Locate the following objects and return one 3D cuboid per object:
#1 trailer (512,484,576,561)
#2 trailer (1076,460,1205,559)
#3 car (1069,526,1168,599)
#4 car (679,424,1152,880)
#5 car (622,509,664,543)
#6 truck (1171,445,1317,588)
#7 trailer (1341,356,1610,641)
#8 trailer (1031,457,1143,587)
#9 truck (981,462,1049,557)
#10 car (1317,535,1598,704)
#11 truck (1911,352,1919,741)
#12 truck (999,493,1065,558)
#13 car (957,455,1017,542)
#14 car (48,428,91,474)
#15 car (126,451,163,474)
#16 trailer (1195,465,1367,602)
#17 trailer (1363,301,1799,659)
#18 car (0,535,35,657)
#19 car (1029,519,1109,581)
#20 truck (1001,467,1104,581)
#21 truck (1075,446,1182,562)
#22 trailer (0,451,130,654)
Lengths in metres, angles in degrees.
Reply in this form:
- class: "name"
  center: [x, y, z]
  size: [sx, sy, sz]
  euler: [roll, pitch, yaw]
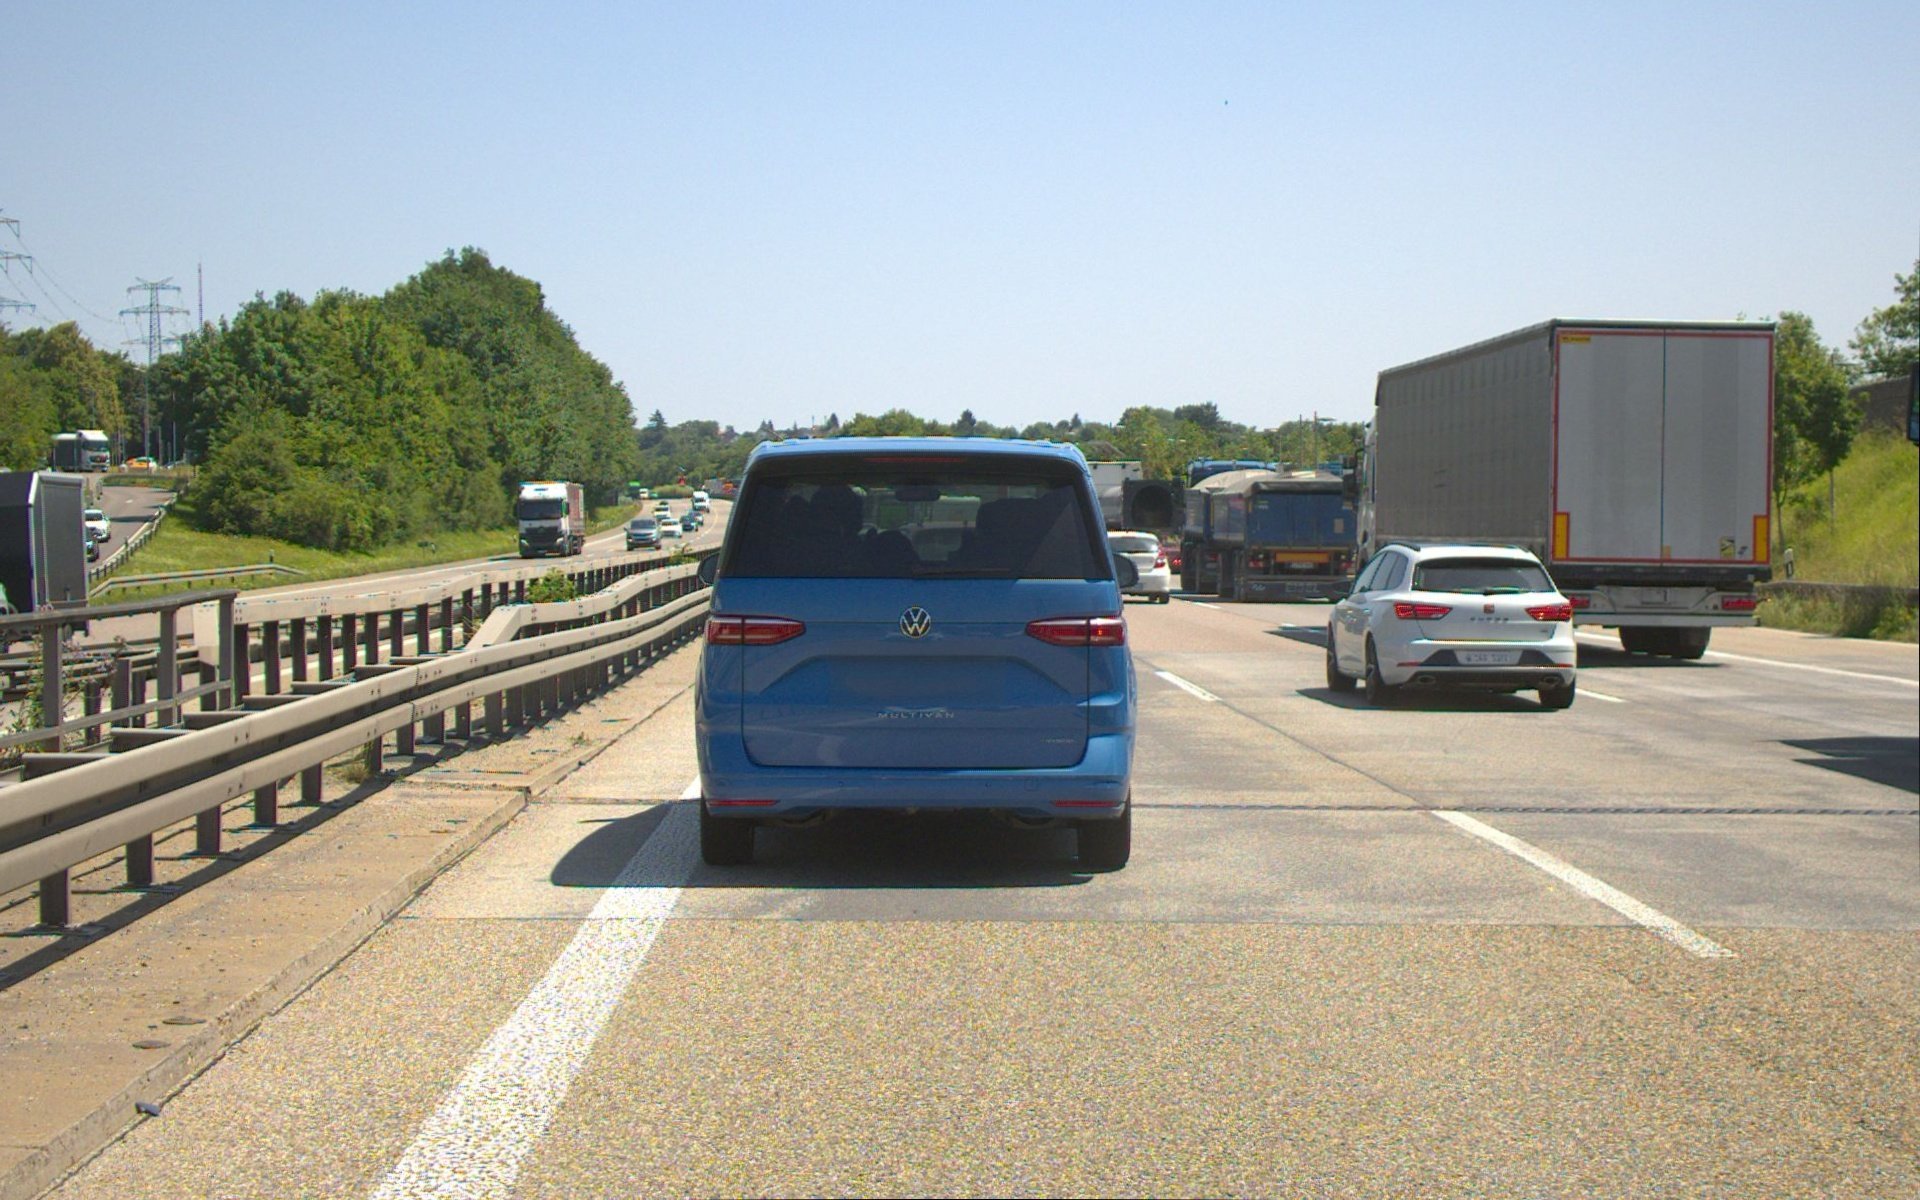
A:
- class: "trailer"
  center: [-22.231, -4.142, 183.982]
  size: [2.757, 3.962, 6.132]
  euler: [-2, 2, -2]
- class: "trailer"
  center: [6.063, -2.982, 118.171]
  size: [3.646, 3.068, 15.772]
  euler: [1, 1, 0]
- class: "car"
  center: [3.307, -0.790, 72.353]
  size: [1.840, 1.449, 4.000]
  euler: [1, 1, 0]
- class: "car"
  center: [-0.192, 0.194, 16.081]
  size: [1.901, 1.831, 4.000]
  euler: [1, 1, 0]
- class: "car"
  center: [-18.674, -4.343, 202.657]
  size: [1.993, 1.934, 4.897]
  euler: [1, 1, 0]
- class: "truck"
  center: [6.892, -2.084, 84.323]
  size: [2.743, 3.300, 7.133]
  euler: [1, 2, -1]
- class: "trailer"
  center: [7.696, -1.525, 52.134]
  size: [2.924, 4.030, 6.411]
  euler: [0, 1, -1]
- class: "trailer"
  center: [5.220, -3.194, 144.509]
  size: [3.646, 5.118, 13.077]
  euler: [1, 1, -2]
- class: "truck"
  center: [2.915, -4.811, 186.300]
  size: [3.068, 4.903, 10.691]
  euler: [1, 1, -2]
- class: "car"
  center: [4.335, 0.125, 30.532]
  size: [1.867, 1.356, 4.000]
  euler: [1, 1, 0]
- class: "truck"
  center: [8.512, -0.880, 20.755]
  size: [2.765, 4.095, 9.953]
  euler: [1, 1, 0]
- class: "truck"
  center: [2.122, -2.191, 102.126]
  size: [1.725, 1.851, 4.000]
  euler: [1, 1, -2]
- class: "car"
  center: [1.677, -6.379, 217.534]
  size: [3.218, 5.239, 8.145]
  euler: [1, 0, -3]
- class: "car"
  center: [-59.867, -10.010, 231.023]
  size: [2.068, 2.870, 6.734]
  euler: [-1, 1, -20]
- class: "car"
  center: [-57.608, -9.688, 242.842]
  size: [1.936, 1.504, 4.401]
  euler: [1, 1, -21]
- class: "trailer"
  center: [7.075, -1.560, 77.005]
  size: [2.743, 2.827, 9.117]
  euler: [1, 2, -1]
- class: "trailer"
  center: [7.859, -1.508, 45.907]
  size: [2.962, 4.035, 13.753]
  euler: [0, 1, -1]
- class: "car"
  center: [-13.715, -0.010, 45.154]
  size: [1.870, 1.620, 4.629]
  euler: [-2, 1, -1]
- class: "car"
  center: [2.773, -1.286, 88.370]
  size: [1.781, 1.519, 4.000]
  euler: [1, 1, -2]
- class: "truck"
  center: [4.347, -3.580, 166.117]
  size: [3.621, 5.195, 15.691]
  euler: [1, 1, -3]
- class: "truck"
  center: [6.146, -3.468, 126.588]
  size: [3.626, 4.080, 7.524]
  euler: [1, 0, 1]
- class: "trailer"
  center: [-13.877, -0.636, 50.068]
  size: [2.166, 2.768, 5.377]
  euler: [-3, 1, -1]
